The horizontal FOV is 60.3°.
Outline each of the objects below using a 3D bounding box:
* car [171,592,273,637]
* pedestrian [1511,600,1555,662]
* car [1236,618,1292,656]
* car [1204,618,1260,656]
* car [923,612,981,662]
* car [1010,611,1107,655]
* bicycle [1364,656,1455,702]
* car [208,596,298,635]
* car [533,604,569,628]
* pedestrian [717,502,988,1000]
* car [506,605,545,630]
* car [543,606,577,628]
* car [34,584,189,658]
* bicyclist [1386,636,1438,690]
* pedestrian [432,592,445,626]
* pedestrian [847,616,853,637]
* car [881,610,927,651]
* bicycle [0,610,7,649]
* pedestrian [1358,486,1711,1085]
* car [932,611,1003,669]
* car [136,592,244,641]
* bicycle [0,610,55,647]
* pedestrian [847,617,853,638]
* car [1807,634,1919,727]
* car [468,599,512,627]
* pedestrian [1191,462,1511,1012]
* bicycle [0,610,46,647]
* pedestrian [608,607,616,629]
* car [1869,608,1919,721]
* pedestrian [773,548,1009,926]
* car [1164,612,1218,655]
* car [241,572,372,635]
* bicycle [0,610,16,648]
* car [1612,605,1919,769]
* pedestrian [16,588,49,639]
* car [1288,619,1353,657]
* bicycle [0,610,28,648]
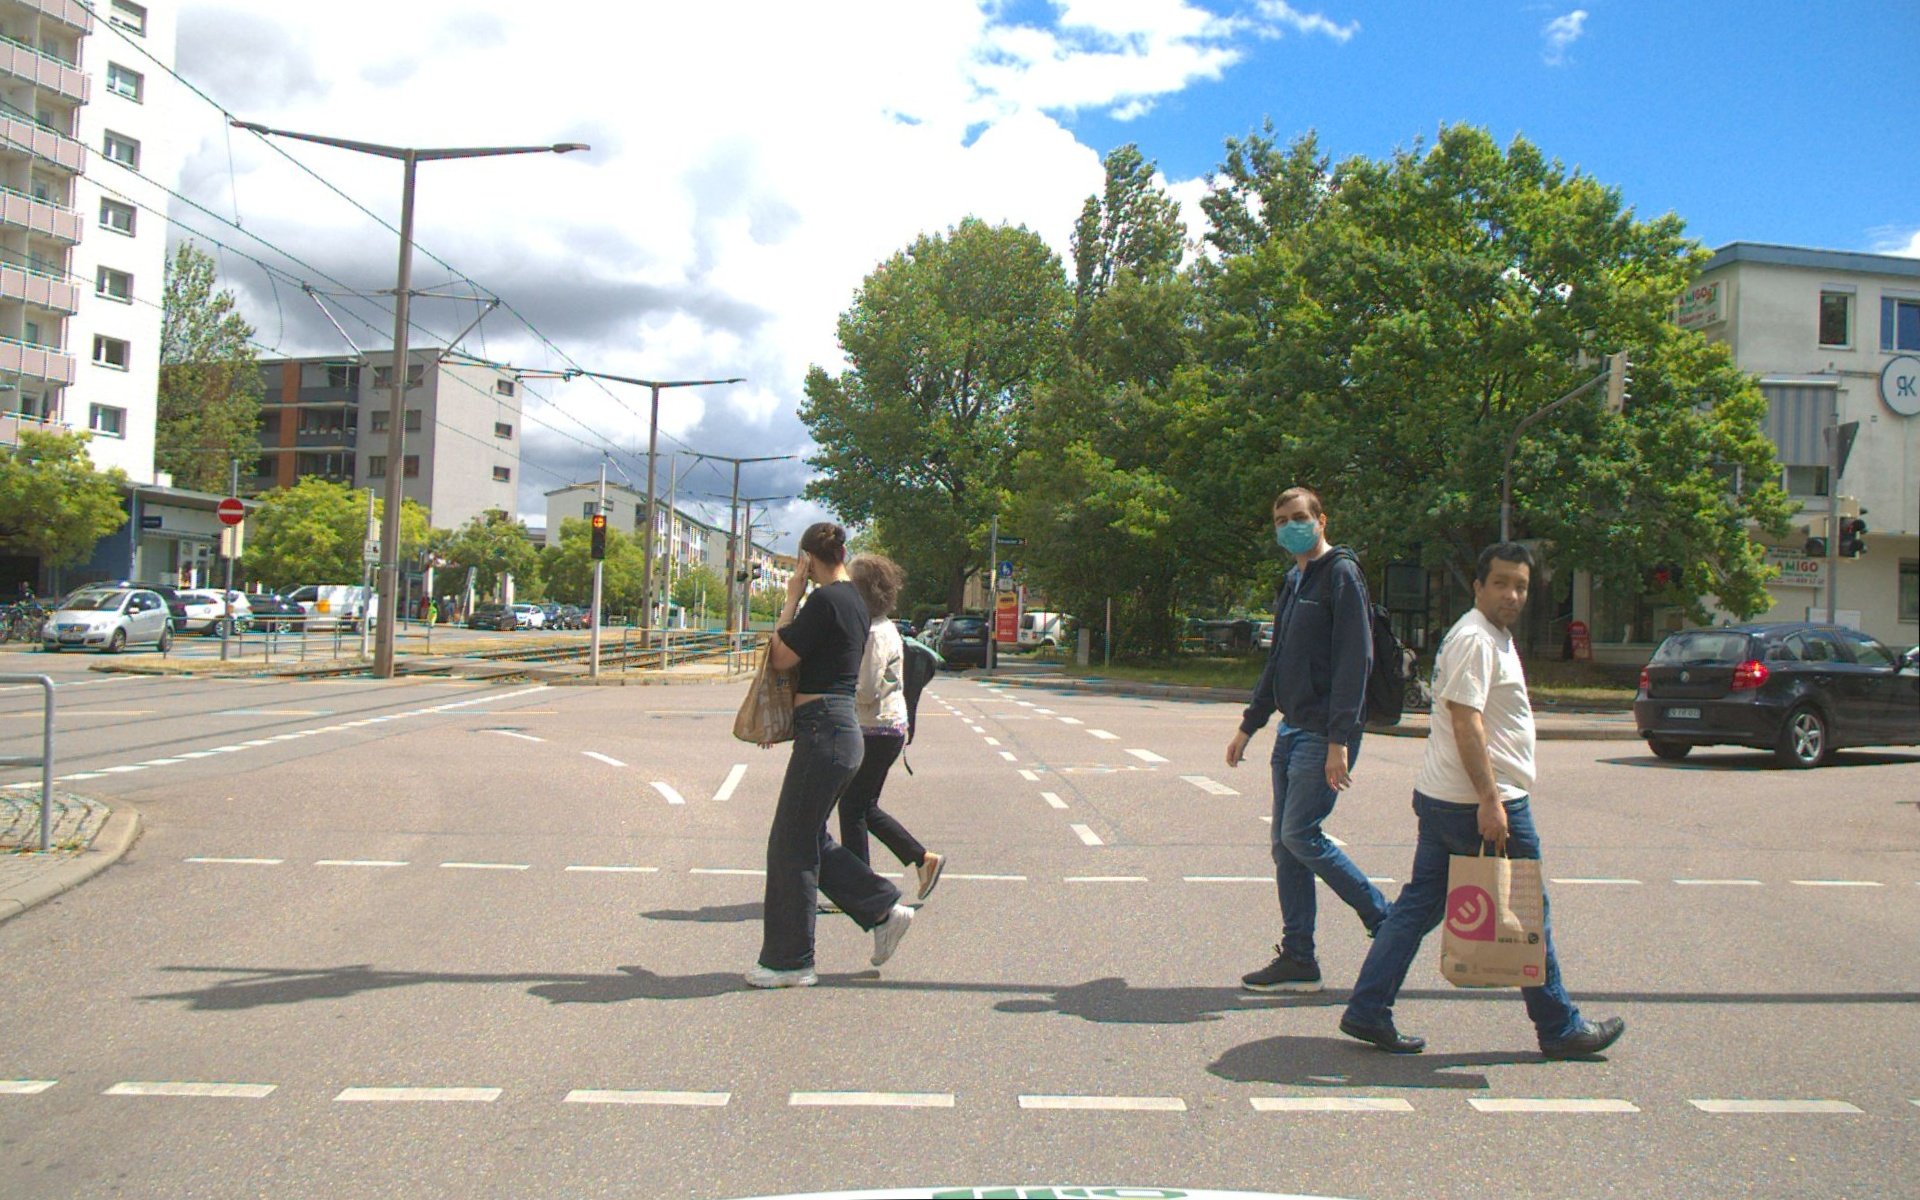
[{"bbox_3d":[-27.124,0.521,60.757,4.143,1.564,1.949,1,0,43],"label":"car"},{"bbox_3d":[15.870,0.856,45.803,0.755,1.672,0.904,2,0,-15],"label":"pedestrian"},{"bbox_3d":[14.066,1.690,76.778,1.598,1.623,3.997,1,0,-4],"label":"car"},{"bbox_3d":[12.377,1.676,75.414,1.598,1.600,4.029,1,0,-4],"label":"car"},{"bbox_3d":[-0.305,1.316,59.220,1.953,1.713,3.999,1,-1,-1],"label":"car"},{"bbox_3d":[4.384,1.454,73.366,3.933,1.855,1.766,1,0,-24],"label":"car"},{"bbox_3d":[8.994,1.576,33.147,0.782,0.833,1.793,2,0,-26],"label":"bicycle"},{"bbox_3d":[-27.272,0.588,63.771,4.147,1.445,1.777,1,0,45],"label":"car"},{"bbox_3d":[-25.837,0.993,104.662,1.728,1.419,3.993,1,0,-7],"label":"car"},{"bbox_3d":[-0.440,0.552,6.441,0.917,1.796,0.770,1,0,-12],"label":"pedestrian"},{"bbox_3d":[-25.740,1.045,98.070,1.728,1.419,3.993,1,0,-7],"label":"car"},{"bbox_3d":[-26.400,1.105,109.216,1.728,1.419,3.993,1,0,-7],"label":"car"},{"bbox_3d":[-21.262,0.512,41.614,1.898,1.723,3.872,1,0,-1],"label":"car"},{"bbox_3d":[9.038,1.258,33.071,0.782,1.040,0.630,2,0,-28],"label":"bicyclist"},{"bbox_3d":[-27.402,0.484,86.898,0.537,1.746,0.667,1,0,-11],"label":"pedestrian"},{"bbox_3d":[-8.788,2.109,132.173,0.469,1.665,0.454,1,0,-2],"label":"pedestrian"},{"bbox_3d":[-2.514,1.348,74.515,1.953,1.713,3.999,1,0,-1],"label":"car"},{"bbox_3d":[-24.884,0.719,41.192,1.910,0.951,0.494,1,-1,-7],"label":"bicycle"},{"bbox_3d":[1.871,0.577,5.488,0.851,1.839,0.741,1,0,-5],"label":"pedestrian"},{"bbox_3d":[0.200,1.249,51.781,2.108,1.713,3.999,1,-1,-1],"label":"car"},{"bbox_3d":[-26.794,0.558,57.502,4.143,1.597,1.949,1,0,43],"label":"car"},{"bbox_3d":[-24.821,0.733,43.279,1.910,0.951,0.494,1,-1,-7],"label":"bicycle"},{"bbox_3d":[-8.774,2.173,132.071,0.328,1.656,0.356,1,0,-19],"label":"pedestrian"},{"bbox_3d":[17.880,1.459,30.266,3.838,1.583,1.994,1,0,-12],"label":"car"},{"bbox_3d":[-25.711,0.697,90.610,1.728,1.419,3.993,1,0,-7],"label":"car"},{"bbox_3d":[1.484,0.502,6.436,0.947,1.976,0.896,1,0,-5],"label":"pedestrian"},{"bbox_3d":[-24.771,0.730,42.771,1.910,0.951,0.494,1,-1,-7],"label":"bicycle"},{"bbox_3d":[-26.541,1.340,126.107,0.444,1.665,0.480,1,0,-3],"label":"pedestrian"},{"bbox_3d":[17.115,1.051,26.190,4.472,1.747,1.997,1,0,-8],"label":"car"},{"bbox_3d":[-0.311,0.620,7.993,0.932,1.703,0.871,0,0,14],"label":"pedestrian"},{"bbox_3d":[10.418,1.503,74.686,1.598,1.842,4.029,1,0,-4],"label":"car"},{"bbox_3d":[-27.333,0.124,69.016,2.811,2.522,6.614,1,0,-44],"label":"car"},{"bbox_3d":[-24.930,0.721,41.666,1.910,0.951,0.494,1,-1,-7],"label":"bicycle"},{"bbox_3d":[8.842,0.825,17.292,3.946,1.513,1.740,0,-1,-31],"label":"car"},{"bbox_3d":[-30.182,0.443,53.843,0.754,1.643,0.695,1,0,-16],"label":"pedestrian"},{"bbox_3d":[16.800,1.750,77.248,1.698,1.623,3.993,1,0,-8],"label":"car"},{"bbox_3d":[-24.916,0.725,42.216,1.910,0.951,0.494,1,-1,-7],"label":"bicycle"}]
